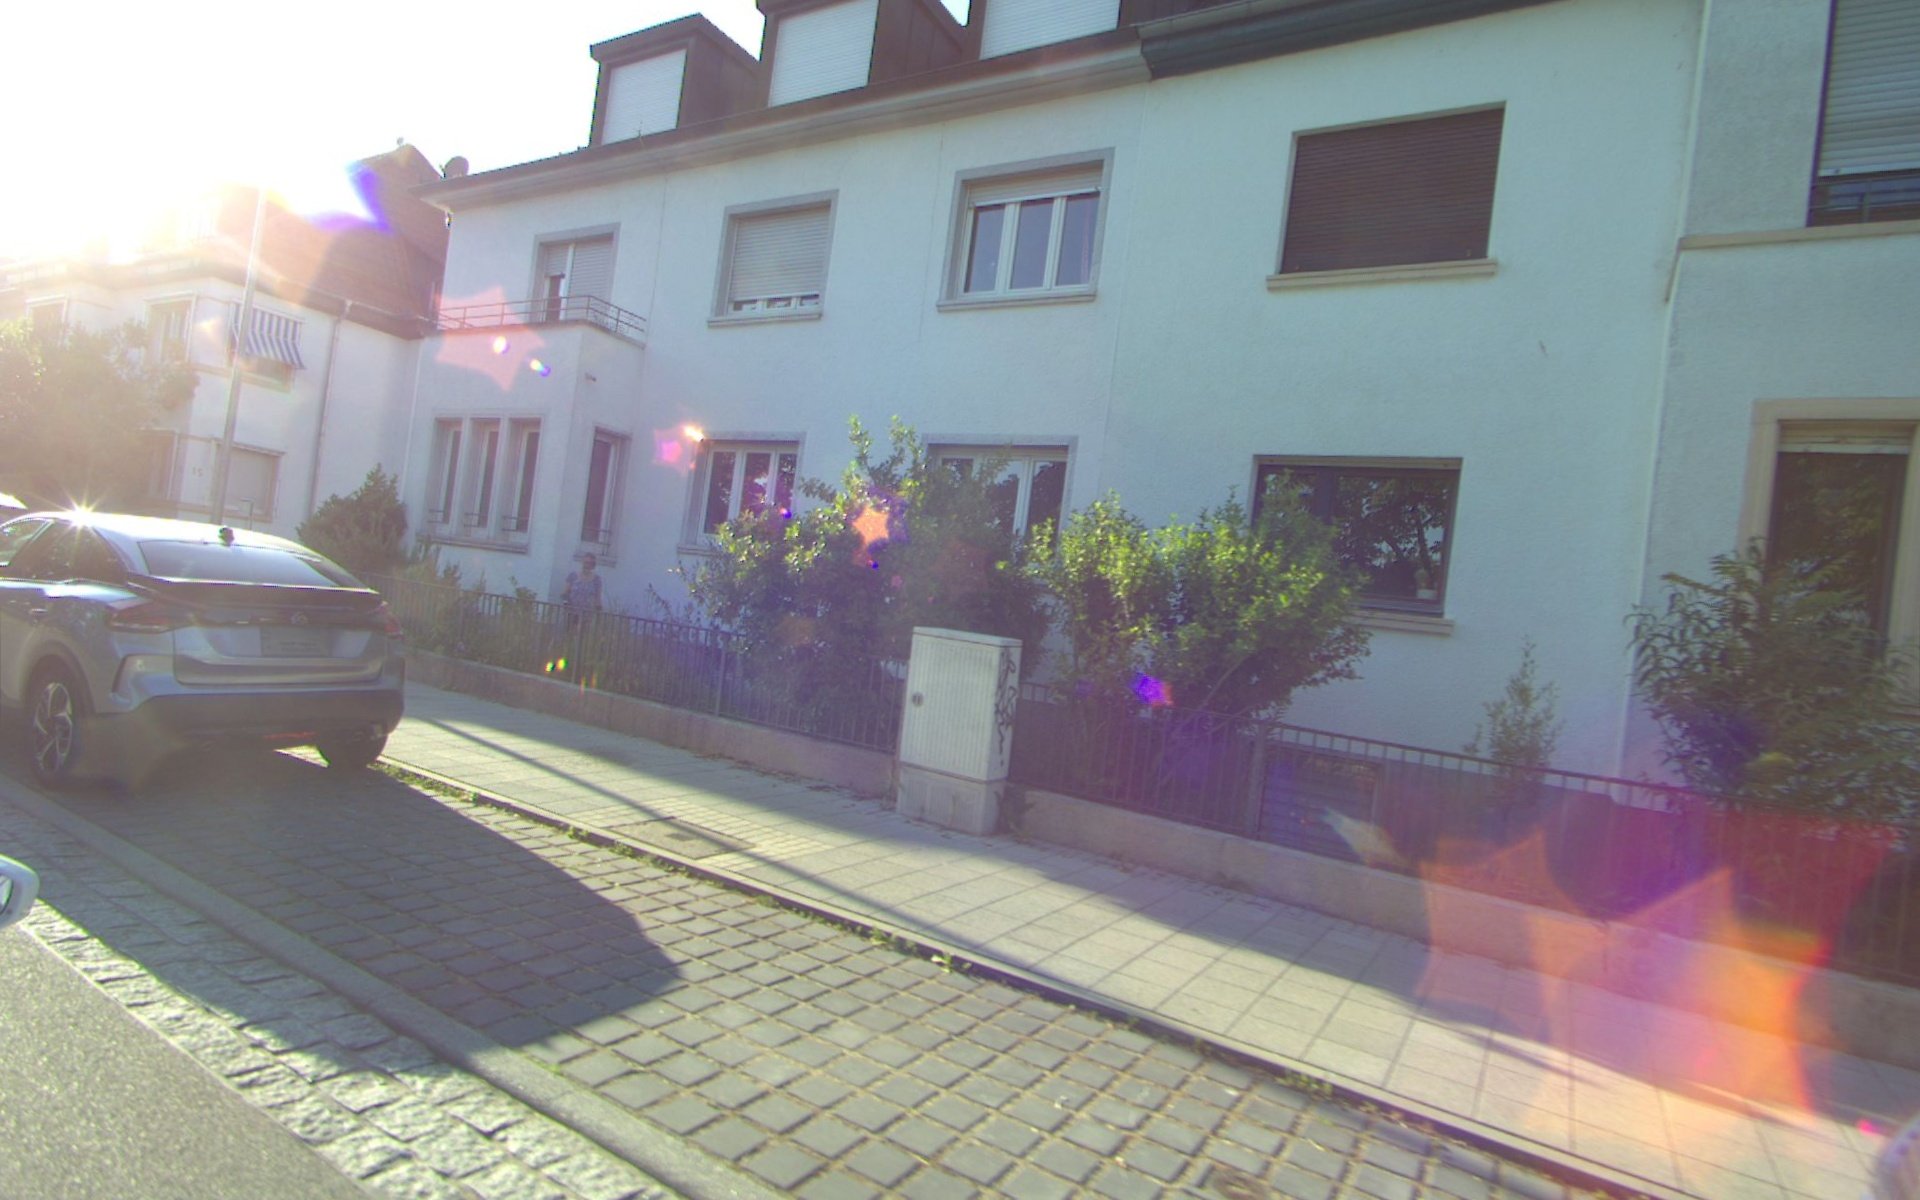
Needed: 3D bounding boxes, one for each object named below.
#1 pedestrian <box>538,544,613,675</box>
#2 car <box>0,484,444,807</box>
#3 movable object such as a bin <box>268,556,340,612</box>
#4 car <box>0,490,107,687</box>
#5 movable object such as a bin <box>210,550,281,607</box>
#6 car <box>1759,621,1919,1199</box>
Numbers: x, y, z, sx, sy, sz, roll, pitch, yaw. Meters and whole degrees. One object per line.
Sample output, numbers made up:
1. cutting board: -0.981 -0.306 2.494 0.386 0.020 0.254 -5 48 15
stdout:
1. pedestrian: -4.993 0.130 13.071 0.591 1.595 0.625 9 -3 -32
2. car: -5.687 0.139 6.866 4.138 1.593 1.721 6 -1 29
3. movable object such as a bin: -15.462 -0.380 23.731 0.777 1.112 1.086 5 -4 35
4. car: -10.519 -0.366 9.898 4.342 1.702 1.838 7 -4 32
5. movable object such as a bin: -16.198 -0.481 22.810 0.777 1.112 0.987 5 -4 35
6. car: 3.787 1.138 0.971 4.398 1.792 1.796 6 -1 32
